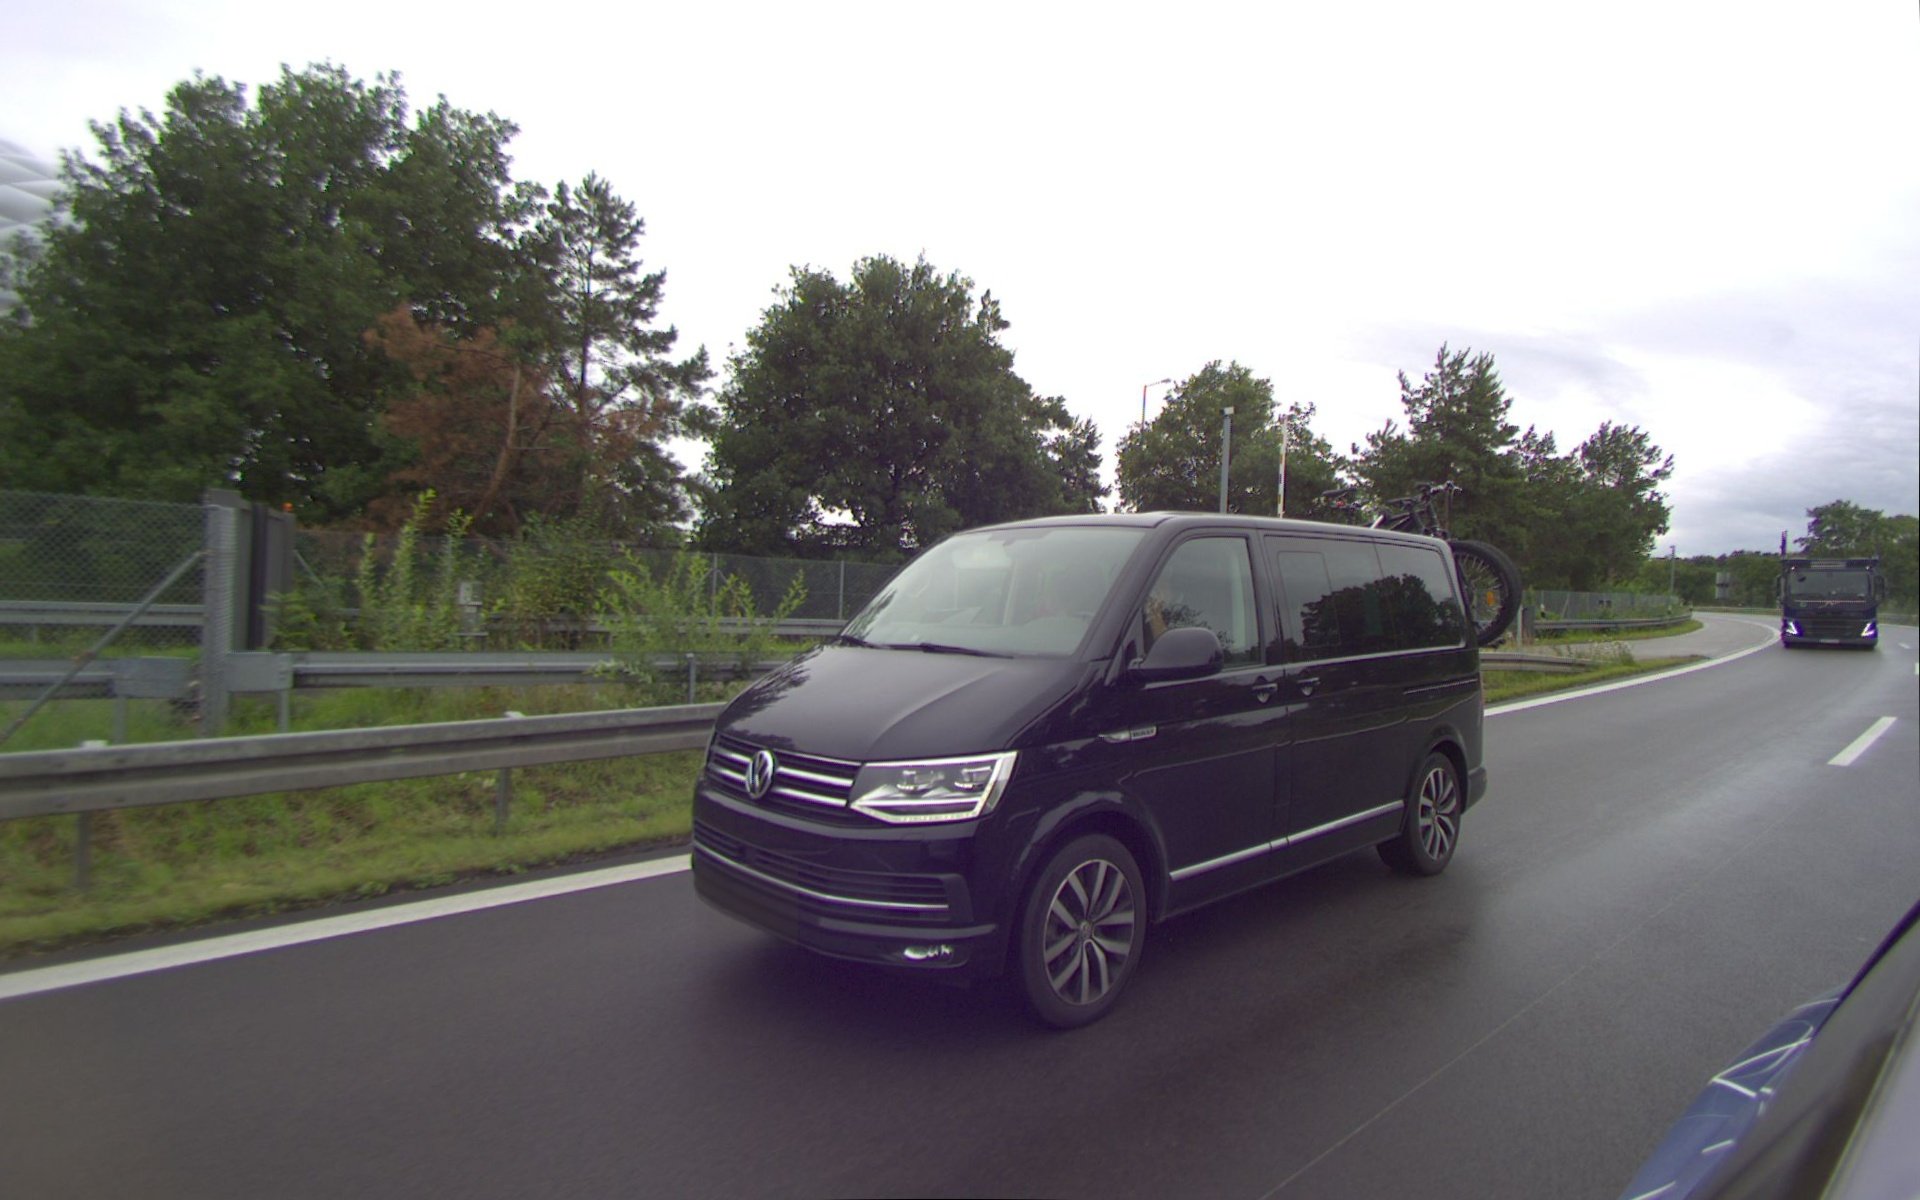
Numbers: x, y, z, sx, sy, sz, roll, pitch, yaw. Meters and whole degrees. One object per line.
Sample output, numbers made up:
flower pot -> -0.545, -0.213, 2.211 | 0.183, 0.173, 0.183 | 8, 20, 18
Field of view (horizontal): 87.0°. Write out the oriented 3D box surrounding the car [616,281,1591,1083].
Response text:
car -> 1.328, 0.238, 5.621 | 5.793, 2.293, 2.113 | 0, -1, -41

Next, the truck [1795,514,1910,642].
truck -> 31.727, -0.669, 36.103 | 2.736, 4.018, 8.992 | -1, -1, 41
